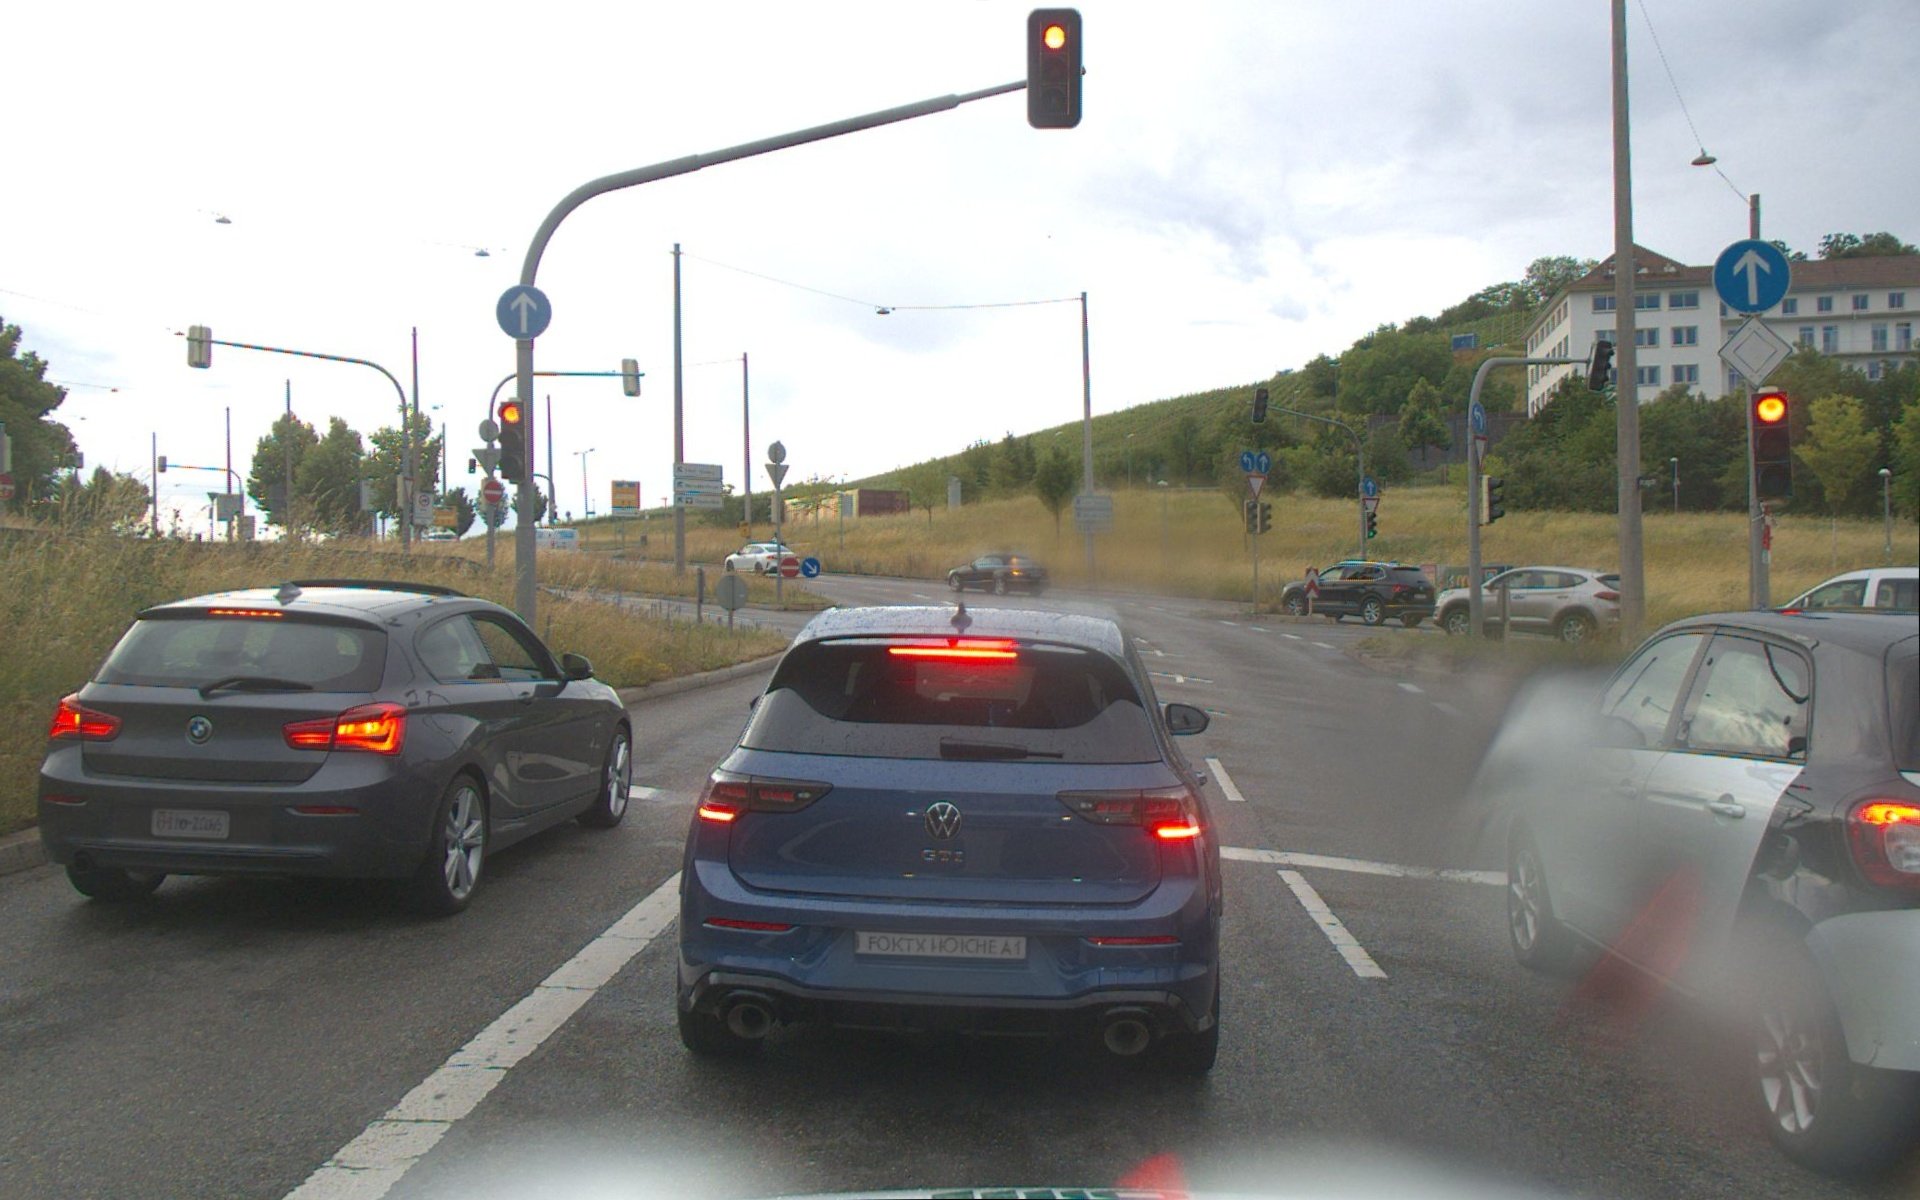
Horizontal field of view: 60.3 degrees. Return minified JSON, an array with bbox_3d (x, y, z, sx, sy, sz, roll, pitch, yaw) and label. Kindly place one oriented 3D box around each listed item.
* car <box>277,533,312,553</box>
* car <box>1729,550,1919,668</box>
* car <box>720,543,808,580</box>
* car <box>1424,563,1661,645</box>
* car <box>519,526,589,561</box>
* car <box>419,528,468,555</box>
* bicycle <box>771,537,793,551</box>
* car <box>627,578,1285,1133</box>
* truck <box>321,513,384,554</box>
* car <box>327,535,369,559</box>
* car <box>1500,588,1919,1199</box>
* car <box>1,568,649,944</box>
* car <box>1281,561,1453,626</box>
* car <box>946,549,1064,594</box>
[{"bbox_3d":[-61.934,-5.326,153.913,1.978,1.688,4.488,2,1,-36],"label":"car"},{"bbox_3d":[15.574,0.161,27.647,1.806,1.882,4.627,2,-1,-41],"label":"car"},{"bbox_3d":[-8.781,-1.699,73.771,1.979,1.503,4.362,1,-1,-37],"label":"car"},{"bbox_3d":[12.481,0.092,35.652,1.983,1.649,4.456,2,-1,-42],"label":"car"},{"bbox_3d":[-23.534,-3.250,95.794,2.115,1.826,4.674,1,-1,-39],"label":"car"},{"bbox_3d":[-36.162,-4.074,115.803,1.978,1.688,4.487,1,-1,-36],"label":"car"},{"bbox_3d":[-10.520,-3.311,97.665,0.514,0.788,1.601,3,1,-35],"label":"bicycle"},{"bbox_3d":[0.079,0.678,6.444,1.787,1.486,3.810,1,1,3],"label":"car"},{"bbox_3d":[-50.813,-5.551,138.268,3.234,3.128,6.096,4,0,-37],"label":"truck"},{"bbox_3d":[-47.745,-4.117,129.010,1.978,1.688,4.298,1,-1,-36],"label":"car"},{"bbox_3d":[3.191,0.765,5.802,1.623,1.529,3.452,1,-1,3],"label":"car"},{"bbox_3d":[-2.931,0.643,8.683,1.667,1.485,4.115,0,-1,2],"label":"car"},{"bbox_3d":[11.111,-0.154,45.392,1.979,1.665,4.362,1,-1,-37],"label":"car"},{"bbox_3d":[1.561,-0.983,59.516,1.978,1.503,4.446,1,-1,-36],"label":"car"}]
